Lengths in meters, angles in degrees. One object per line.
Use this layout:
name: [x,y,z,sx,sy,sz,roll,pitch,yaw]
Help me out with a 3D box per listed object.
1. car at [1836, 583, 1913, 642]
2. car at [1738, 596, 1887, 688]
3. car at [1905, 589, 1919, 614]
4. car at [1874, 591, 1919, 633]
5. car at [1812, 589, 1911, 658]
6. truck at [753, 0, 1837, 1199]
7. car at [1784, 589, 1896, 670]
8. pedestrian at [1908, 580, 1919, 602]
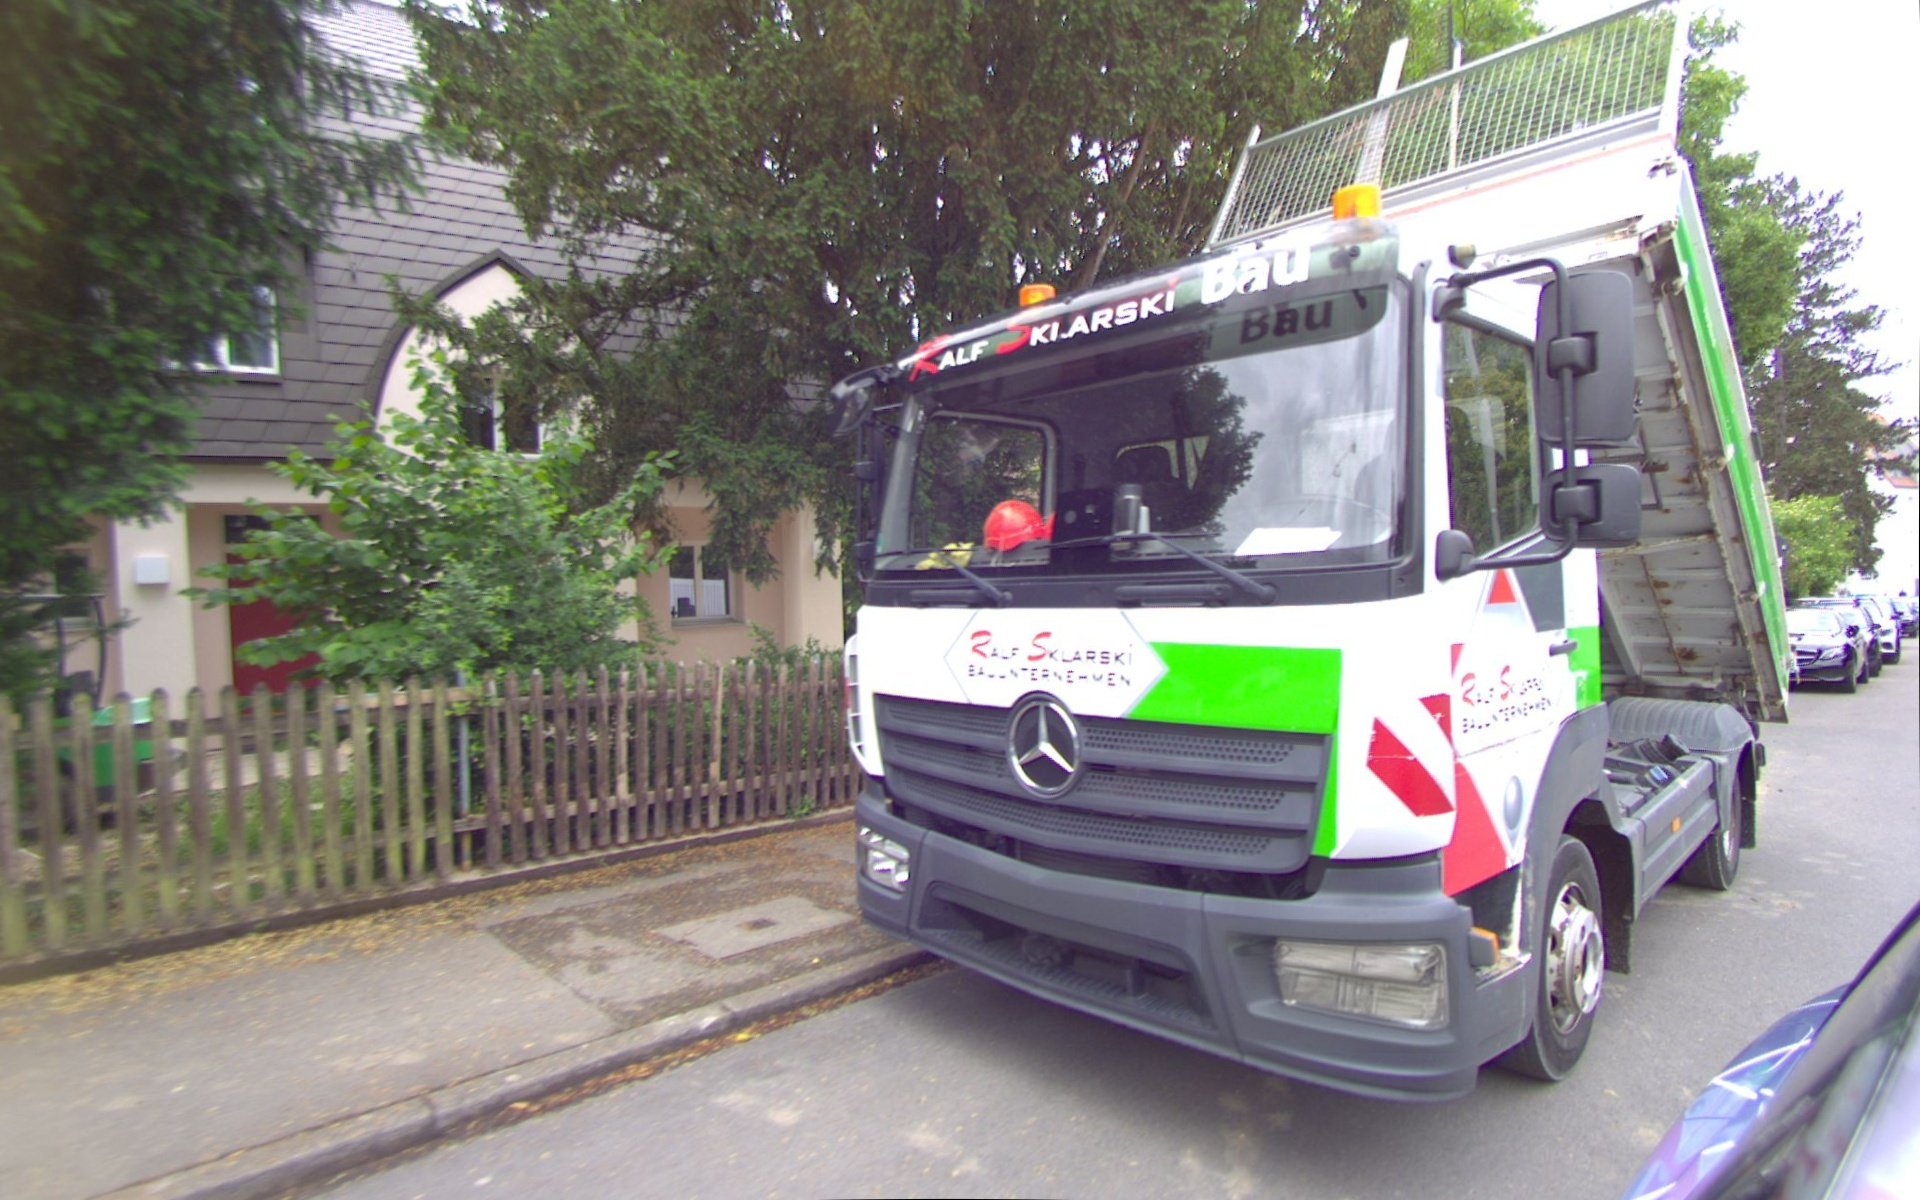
car: [30.677,0.414,33.923,1.682,1.853,4.090,-3,-2,44]
car: [15.624,0.684,18.458,4.584,1.442,1.653,-1,-1,-45]
car: [61.695,0.082,64.839,1.570,1.551,2.823,-4,-2,43]
car: [40.622,0.490,43.469,4.010,1.628,1.750,-1,-1,-45]
car: [23.274,0.565,26.176,1.756,1.626,4.506,-2,-1,42]
truck: [2.609,-0.940,5.465,7.069,4.809,2.526,0,-1,-44]
car: [19.366,0.559,22.212,1.698,1.590,4.241,0,1,43]
pedestrian: [73.317,-0.680,77.637,0.890,1.596,0.683,-3,4,-38]
